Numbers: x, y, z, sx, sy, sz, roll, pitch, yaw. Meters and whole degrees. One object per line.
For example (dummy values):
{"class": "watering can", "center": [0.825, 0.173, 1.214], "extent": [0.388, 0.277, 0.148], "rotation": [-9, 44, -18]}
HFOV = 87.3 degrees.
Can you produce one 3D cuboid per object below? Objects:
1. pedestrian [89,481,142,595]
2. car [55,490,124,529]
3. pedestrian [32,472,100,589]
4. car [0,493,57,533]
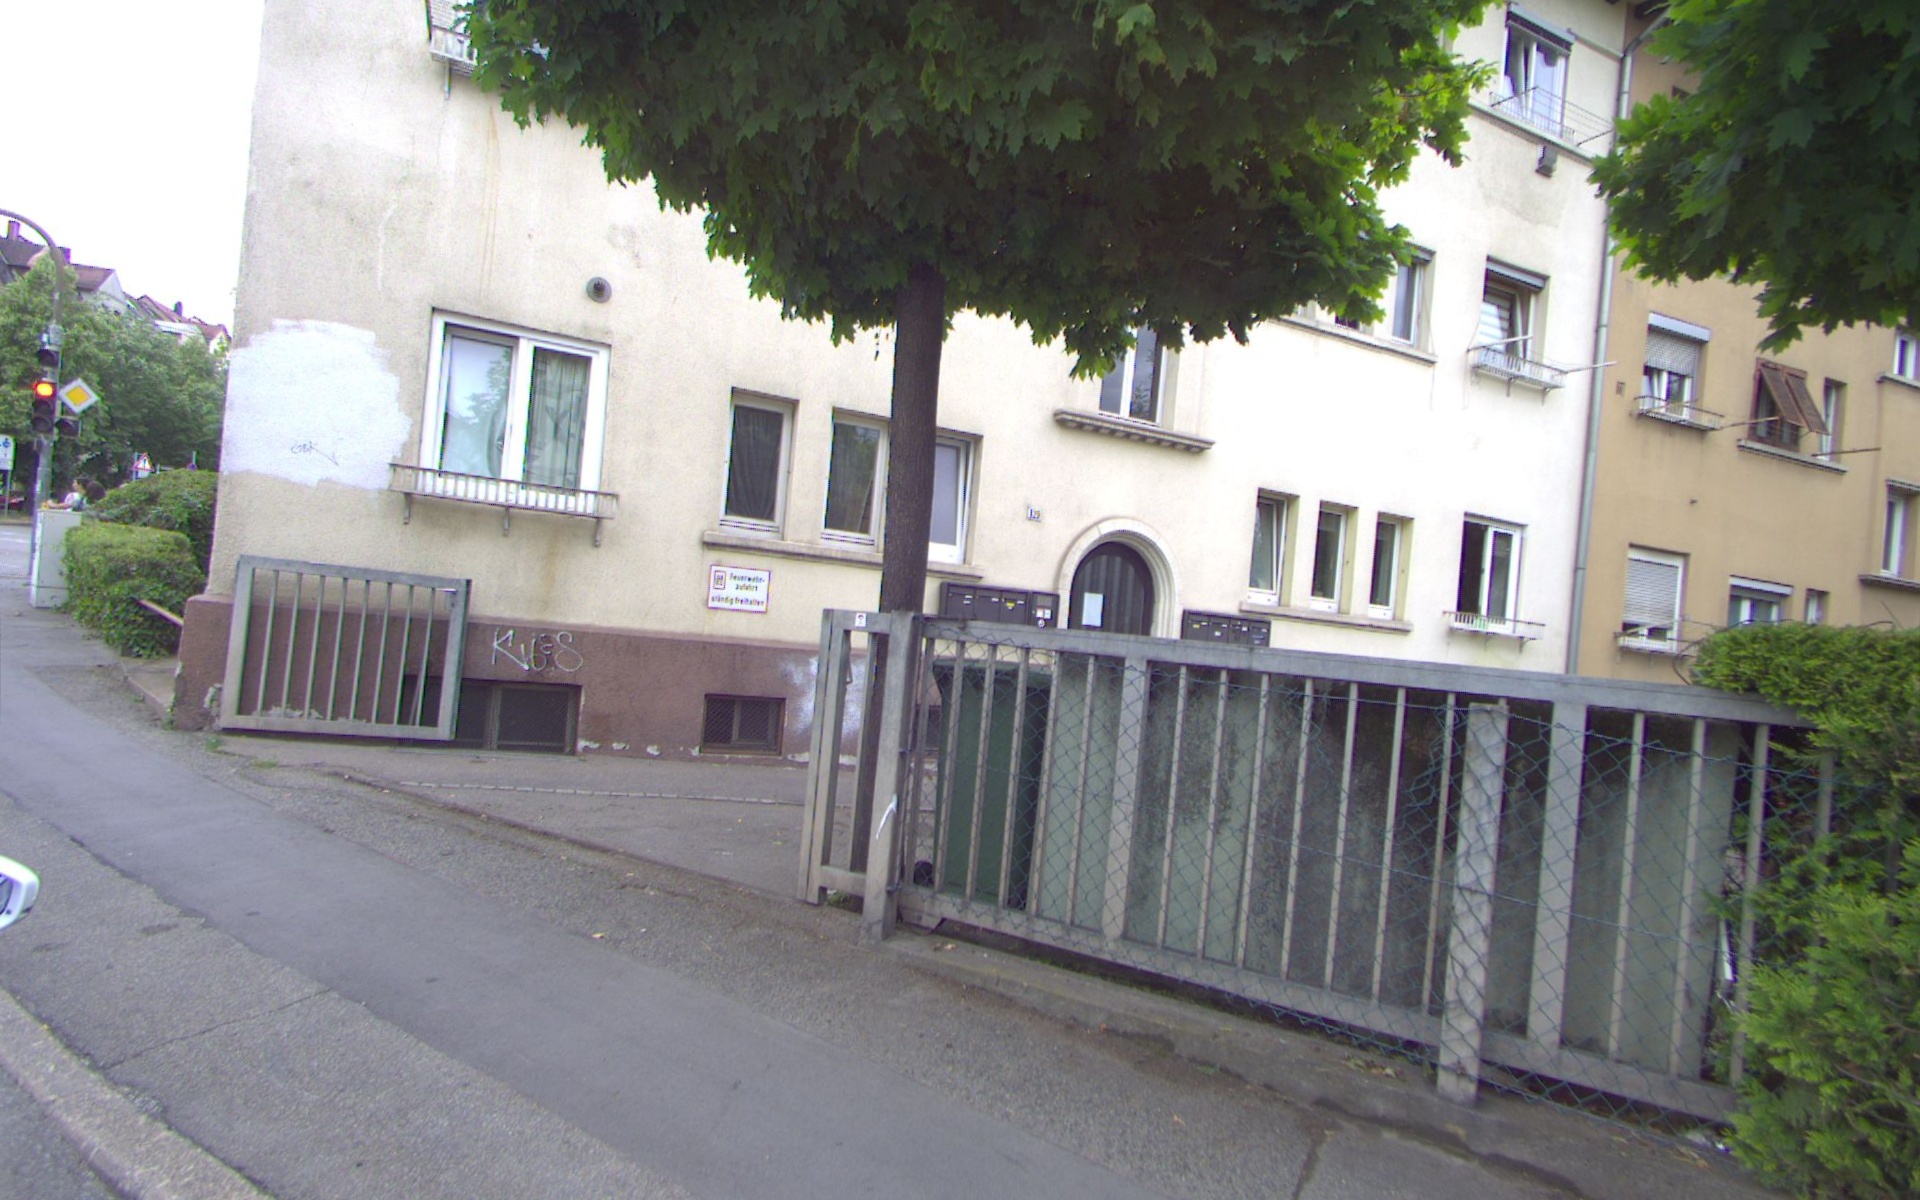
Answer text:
{"class": "pedestrian", "center": [-14.365, -1.047, 17.117], "extent": [0.462, 1.857, 0.320], "rotation": [9, -2, -44]}
{"class": "car", "center": [-62.641, -6.465, 72.464], "extent": [1.970, 2.036, 3.992], "rotation": [8, -3, -15]}
{"class": "pedestrian", "center": [-14.938, -1.161, 16.814], "extent": [0.522, 1.840, 0.589], "rotation": [6, -2, 43]}
{"class": "car", "center": [-60.867, -5.690, 64.919], "extent": [1.970, 2.036, 3.992], "rotation": [8, -3, -15]}
